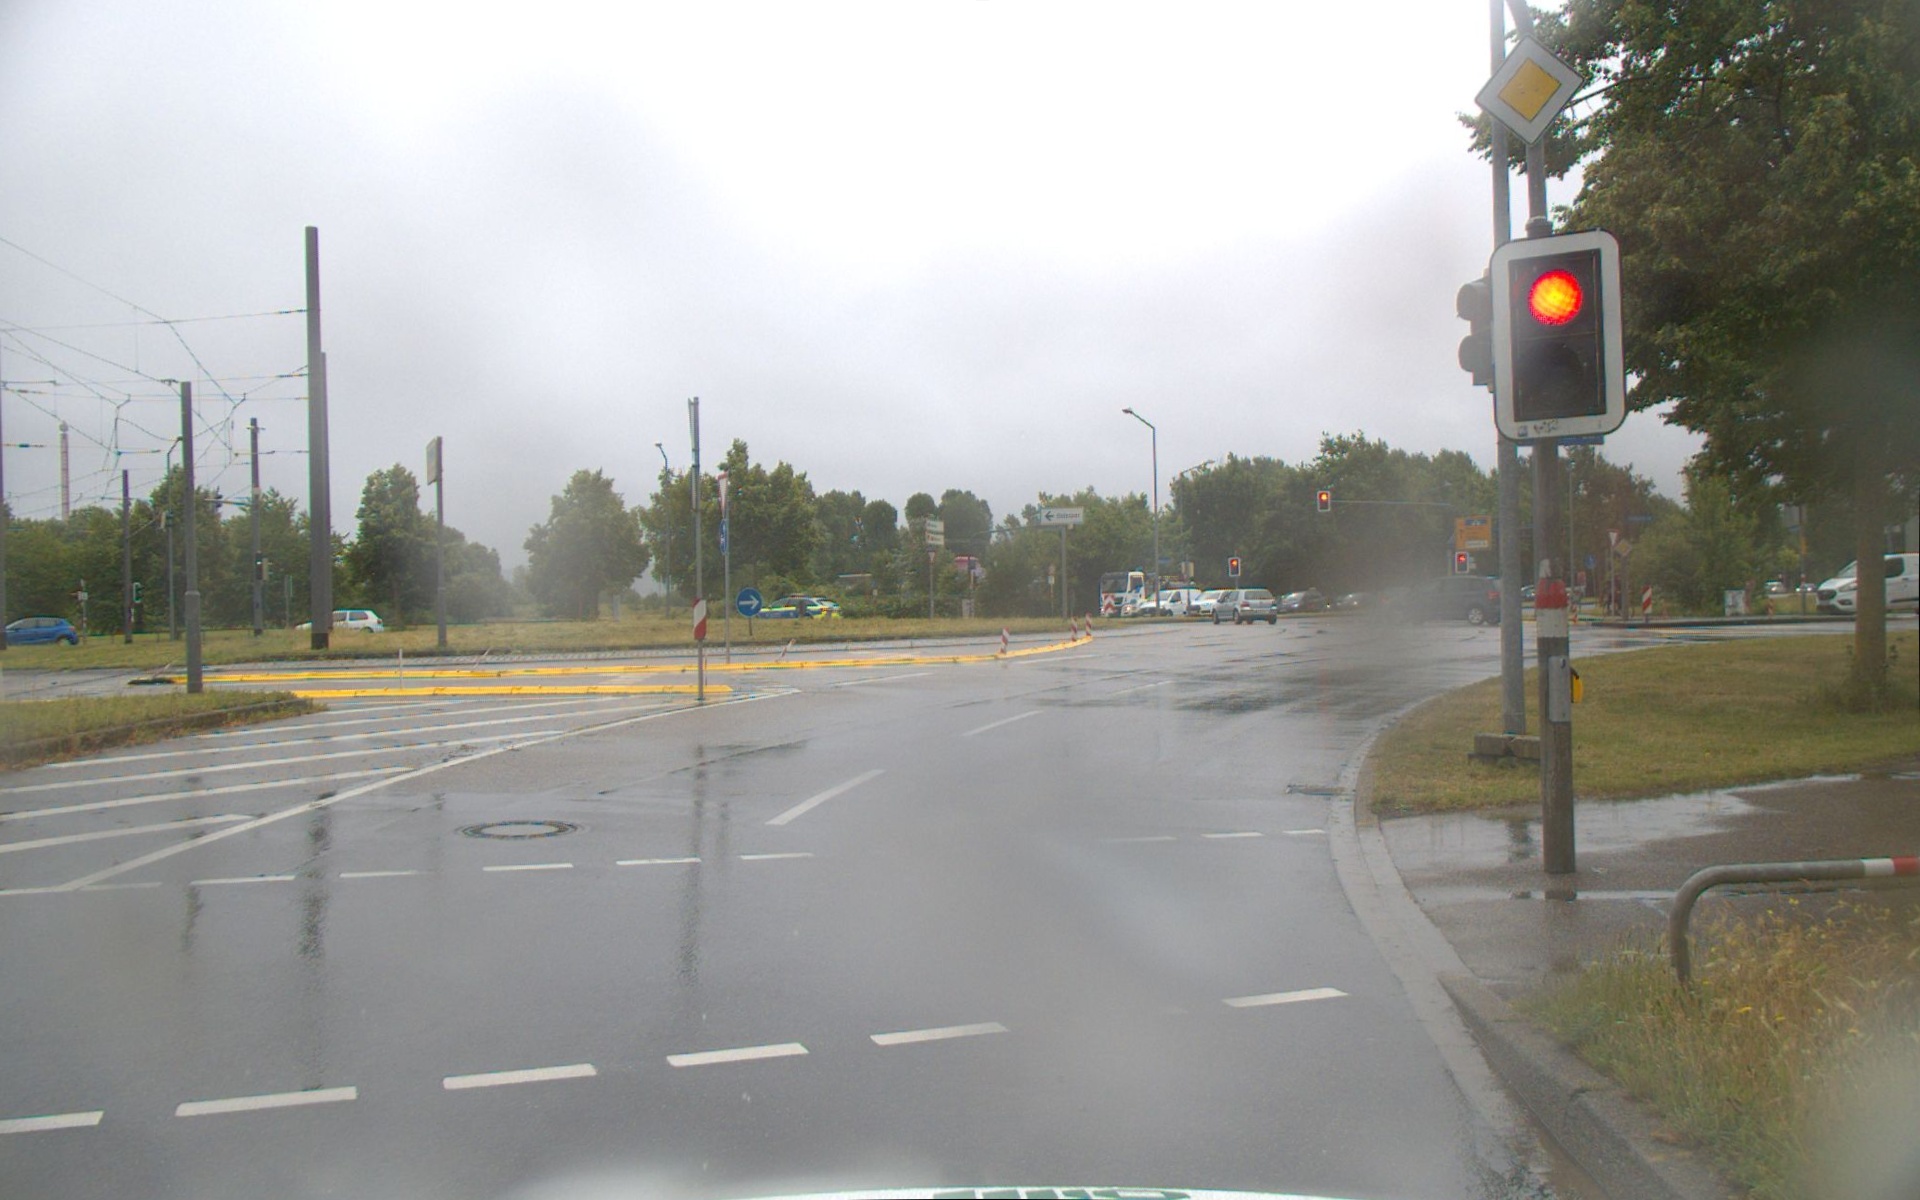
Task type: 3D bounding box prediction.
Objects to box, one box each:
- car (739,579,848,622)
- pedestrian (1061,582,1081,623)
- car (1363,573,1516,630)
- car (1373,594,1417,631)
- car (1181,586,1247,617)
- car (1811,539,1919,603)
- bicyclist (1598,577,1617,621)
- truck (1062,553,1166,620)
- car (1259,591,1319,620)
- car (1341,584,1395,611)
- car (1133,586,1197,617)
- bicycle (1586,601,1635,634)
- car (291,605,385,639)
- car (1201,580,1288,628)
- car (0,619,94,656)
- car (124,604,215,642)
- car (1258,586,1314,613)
[{"bbox_3d":[-7.645,0.024,76.012,4.670,1.883,1.997,-1,0,29],"label":"car"},{"bbox_3d":[3.638,0.090,54.357,0.445,1.327,0.484,-1,0,38],"label":"pedestrian"},{"bbox_3d":[16.443,0.043,56.774,4.679,1.884,1.993,1,-1,35],"label":"car"},{"bbox_3d":[18.746,0.518,71.371,1.583,1.479,3.991,-1,0,11],"label":"car"},{"bbox_3d":[14.586,0.109,94.812,1.769,1.691,4.386,0,-1,40],"label":"car"},{"bbox_3d":[29.805,-0.888,52.521,4.670,1.884,1.997,1,-1,-7],"label":"car"},{"bbox_3d":[26.574,-0.044,67.883,0.486,1.772,0.588,1,-1,-15],"label":"bicyclist"},{"bbox_3d":[7.009,-0.545,74.191,2.411,2.733,8.058,1,-1,22],"label":"truck"},{"bbox_3d":[20.496,0.332,102.951,1.769,1.691,4.386,0,-1,40],"label":"car"},{"bbox_3d":[27.045,-0.197,109.538,1.769,1.691,4.386,-1,0,40],"label":"car"},{"bbox_3d":[11.971,0.081,96.434,1.769,1.691,4.112,0,-1,40],"label":"car"},{"bbox_3d":[26.629,0.715,67.743,0.560,1.337,2.501,1,-1,-13],"label":"bicycle"},{"bbox_3d":[-28.909,0.997,76.915,3.909,1.479,1.617,-1,0,-15],"label":"car"},{"bbox_3d":[11.750,0.191,68.682,1.958,1.884,4.761,1,-1,-12],"label":"car"},{"bbox_3d":[-40.270,1.625,72.351,1.597,1.479,3.958,-1,0,45],"label":"car"},{"bbox_3d":[-40.359,1.194,84.496,1.644,1.848,3.994,1,-1,28],"label":"car"},{"bbox_3d":[21.463,-0.044,108.783,1.769,1.691,4.386,-1,0,40],"label":"car"}]
